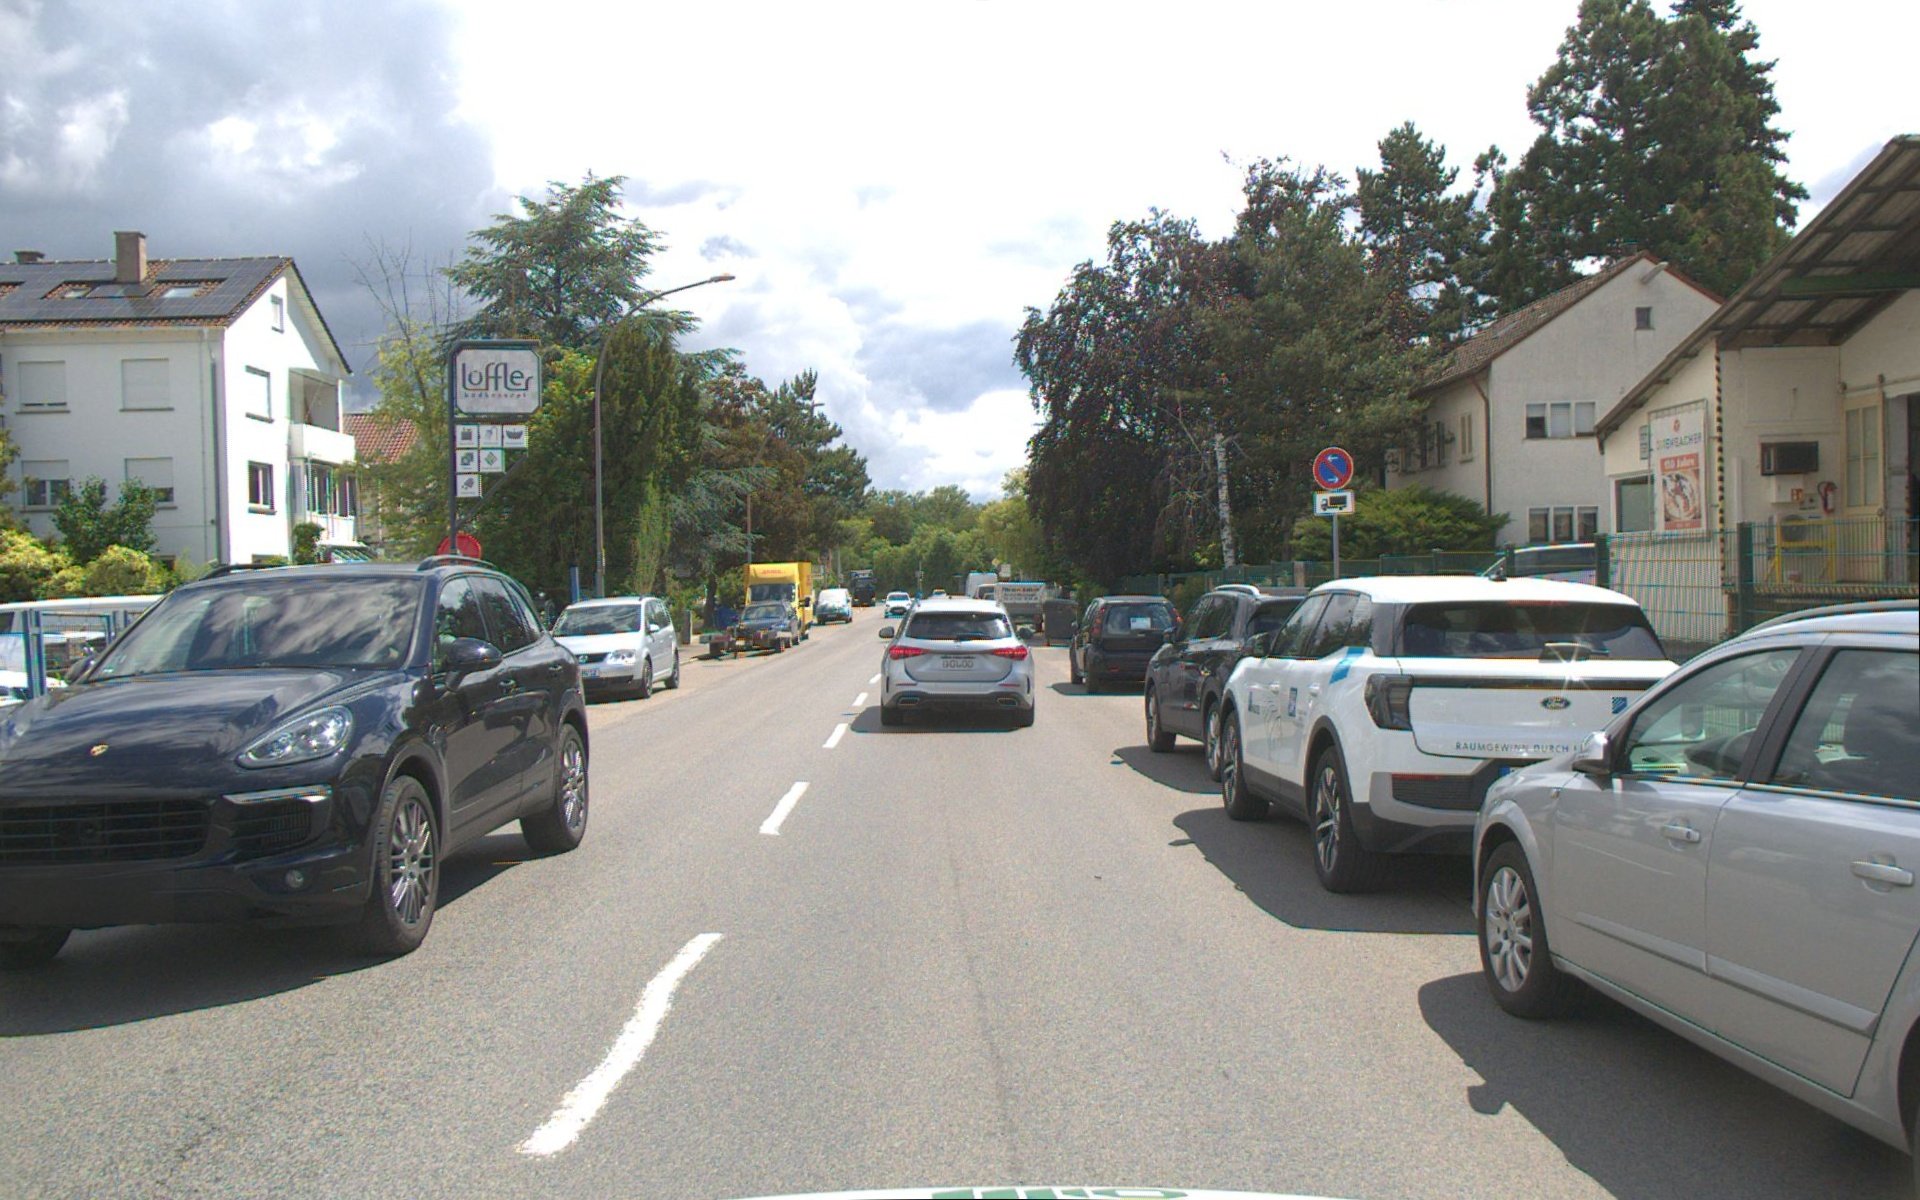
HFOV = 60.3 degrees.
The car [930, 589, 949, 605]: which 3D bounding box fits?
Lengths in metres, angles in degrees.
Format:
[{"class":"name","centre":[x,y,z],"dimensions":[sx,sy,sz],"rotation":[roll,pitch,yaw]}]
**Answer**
[{"class":"car","centre":[-2.168,-0.304,175.294],"dimensions":[1.721,1.585,3.997],"rotation":[-1,0,-4]}]

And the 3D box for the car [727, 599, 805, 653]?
[{"class":"car","centre":[-6.087,0.792,52.309],"dimensions":[2.033,1.503,4.455],"rotation":[-3,0,-2]}]

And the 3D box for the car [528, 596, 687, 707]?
[{"class":"car","centre":[-5.832,0.789,27.876],"dimensions":[1.755,1.631,4.362],"rotation":[-2,0,-1]}]

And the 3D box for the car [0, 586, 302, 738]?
[{"class":"car","centre":[-11.434,0.874,22.456],"dimensions":[4.193,1.868,1.990],"rotation":[-2,-3,-2]}]

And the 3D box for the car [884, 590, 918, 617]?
[{"class":"car","centre":[-3.562,0.174,100.683],"dimensions":[1.895,1.518,4.362],"rotation":[-3,0,-1]}]

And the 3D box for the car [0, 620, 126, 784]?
[{"class":"car","centre":[-11.267,1.118,17.168],"dimensions":[4.192,1.594,1.991],"rotation":[-2,-3,-1]}]

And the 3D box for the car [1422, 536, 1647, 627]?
[{"class":"car","centre":[14.381,-0.453,41.612],"dimensions":[4.913,1.962,2.001],"rotation":[-3,0,2]}]

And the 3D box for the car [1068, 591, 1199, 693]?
[{"class":"car","centre":[2.733,0.622,26.763],"dimensions":[1.655,1.476,3.848],"rotation":[-2,0,-1]}]

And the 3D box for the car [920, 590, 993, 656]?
[{"class":"car","centre":[-0.132,0.542,42.630],"dimensions":[1.720,1.585,3.998],"rotation":[-1,0,-2]}]

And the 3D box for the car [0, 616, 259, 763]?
[{"class":"car","centre":[-10.863,1.100,19.675],"dimensions":[4.193,1.594,1.990],"rotation":[-2,-3,-2]}]

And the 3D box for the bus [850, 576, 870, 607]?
[{"class":"bus","centre":[-11.327,-0.929,187.384],"dimensions":[1.955,3.423,6.973],"rotation":[1,0,-6]}]

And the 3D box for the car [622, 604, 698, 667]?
[{"class":"car","centre":[-10.357,1.205,57.386],"dimensions":[1.953,2.049,3.999],"rotation":[1,0,-1]}]

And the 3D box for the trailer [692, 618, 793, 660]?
[{"class":"trailer","centre":[-5.904,1.041,45.555],"dimensions":[2.183,0.941,5.946],"rotation":[-1,0,-2]}]

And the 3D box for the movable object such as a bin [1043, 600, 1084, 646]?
[{"class":"movable object such as a bin","centre":[2.976,0.656,47.725],"dimensions":[1.062,1.293,1.380],"rotation":[1,0,-1]}]

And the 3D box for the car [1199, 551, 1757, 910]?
[{"class":"car","centre":[2.731,0.587,9.936],"dimensions":[1.756,1.579,4.572],"rotation":[-3,0,-2]}]

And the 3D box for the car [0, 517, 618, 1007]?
[{"class":"car","centre":[-3.243,0.598,8.421],"dimensions":[1.953,1.763,4.548],"rotation":[-2,0,0]}]

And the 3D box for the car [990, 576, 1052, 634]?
[{"class":"car","centre":[2.276,0.177,63.116],"dimensions":[2.100,2.018,5.260],"rotation":[-2,0,0]}]

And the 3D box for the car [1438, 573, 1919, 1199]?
[{"class":"car","centre":[2.903,0.683,4.563],"dimensions":[1.756,1.475,4.362],"rotation":[-3,0,-2]}]

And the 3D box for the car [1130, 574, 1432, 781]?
[{"class":"car","centre":[2.764,0.613,15.151],"dimensions":[1.656,1.579,4.082],"rotation":[-2,0,-4]}]

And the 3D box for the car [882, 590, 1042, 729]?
[{"class":"car","centre":[-0.073,0.671,20.332],"dimensions":[1.749,1.510,4.314],"rotation":[0,-1,-3]}]

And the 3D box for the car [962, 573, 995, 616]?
[{"class":"car","centre":[1.115,-0.293,100.664],"dimensions":[1.749,2.562,4.314],"rotation":[0,-1,-3]}]

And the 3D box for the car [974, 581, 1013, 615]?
[{"class":"car","centre":[1.769,-0.088,88.514],"dimensions":[1.749,1.745,4.314],"rotation":[0,-1,-3]}]

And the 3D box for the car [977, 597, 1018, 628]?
[{"class":"car","centre":[1.865,0.631,83.356],"dimensions":[1.749,1.510,4.314],"rotation":[0,-1,-3]}]

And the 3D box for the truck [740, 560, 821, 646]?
[{"class":"truck","centre":[-6.466,0.077,60.268],"dimensions":[2.032,2.863,7.078],"rotation":[-3,0,0]}]

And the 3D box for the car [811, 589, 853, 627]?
[{"class":"car","centre":[-6.893,0.419,89.515],"dimensions":[1.895,1.952,4.362],"rotation":[-2,0,-1]}]

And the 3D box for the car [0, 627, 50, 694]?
[{"class":"car","centre":[-24.229,1.532,40.155],"dimensions":[1.954,1.571,4.374],"rotation":[-2,1,-3]}]
